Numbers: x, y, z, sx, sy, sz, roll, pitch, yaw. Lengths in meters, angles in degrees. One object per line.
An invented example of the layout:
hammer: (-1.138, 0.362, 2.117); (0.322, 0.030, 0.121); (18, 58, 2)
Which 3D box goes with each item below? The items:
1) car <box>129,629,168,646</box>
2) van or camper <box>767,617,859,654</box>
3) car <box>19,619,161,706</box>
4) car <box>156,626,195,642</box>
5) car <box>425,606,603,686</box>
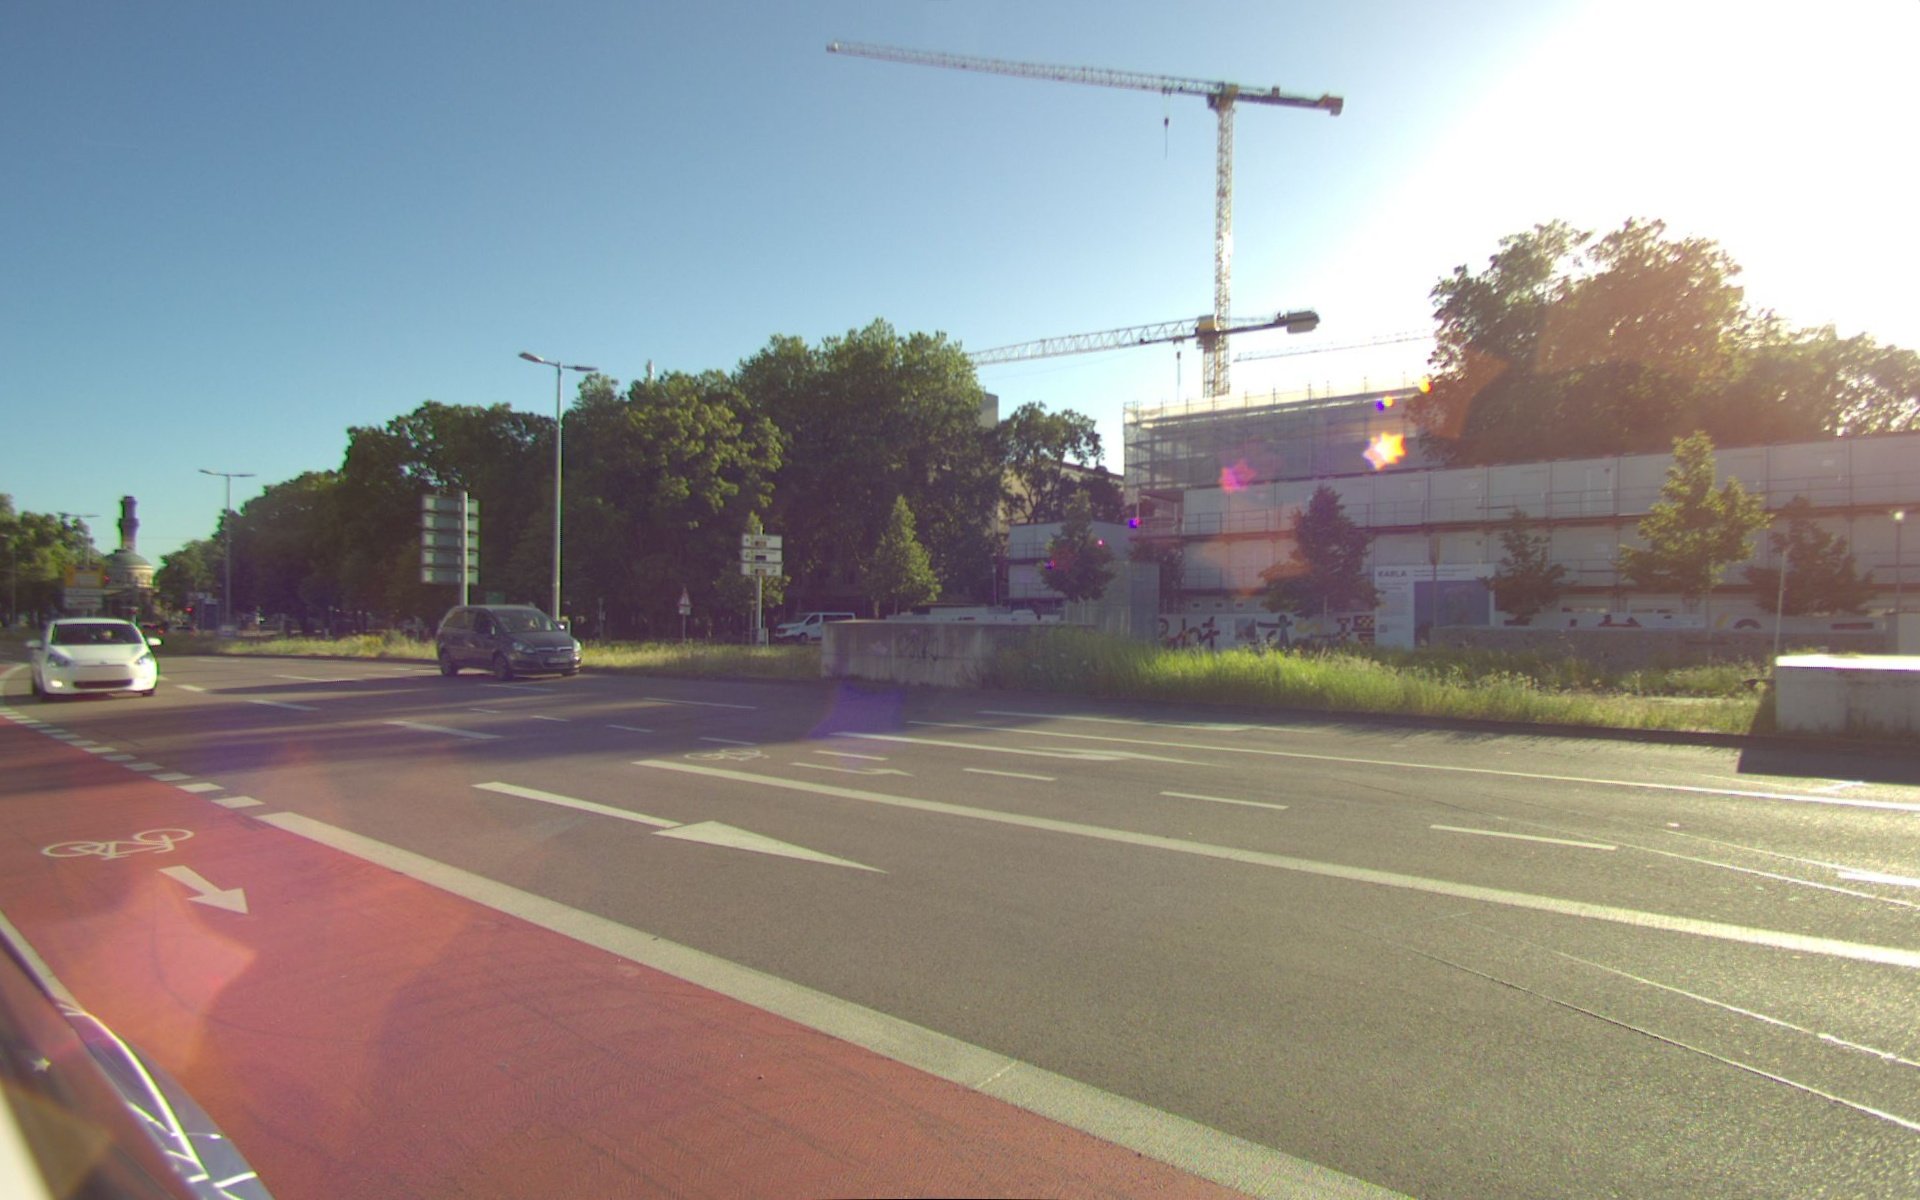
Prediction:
car: (-69.776, 3.246, 86.981); (3.996, 1.409, 1.849); (-1, -2, 40)
van or camper: (-8.931, 2.112, 61.949); (1.948, 2.029, 5.576); (-1, 0, 42)
car: (-16.663, 1.122, 19.321); (3.889, 1.460, 1.656); (-1, -1, 43)
car: (-75.886, 3.295, 97.876); (3.992, 1.519, 1.976); (-1, -2, 36)
car: (-10.104, 0.979, 22.786); (4.479, 1.619, 1.973); (-1, -1, 41)
